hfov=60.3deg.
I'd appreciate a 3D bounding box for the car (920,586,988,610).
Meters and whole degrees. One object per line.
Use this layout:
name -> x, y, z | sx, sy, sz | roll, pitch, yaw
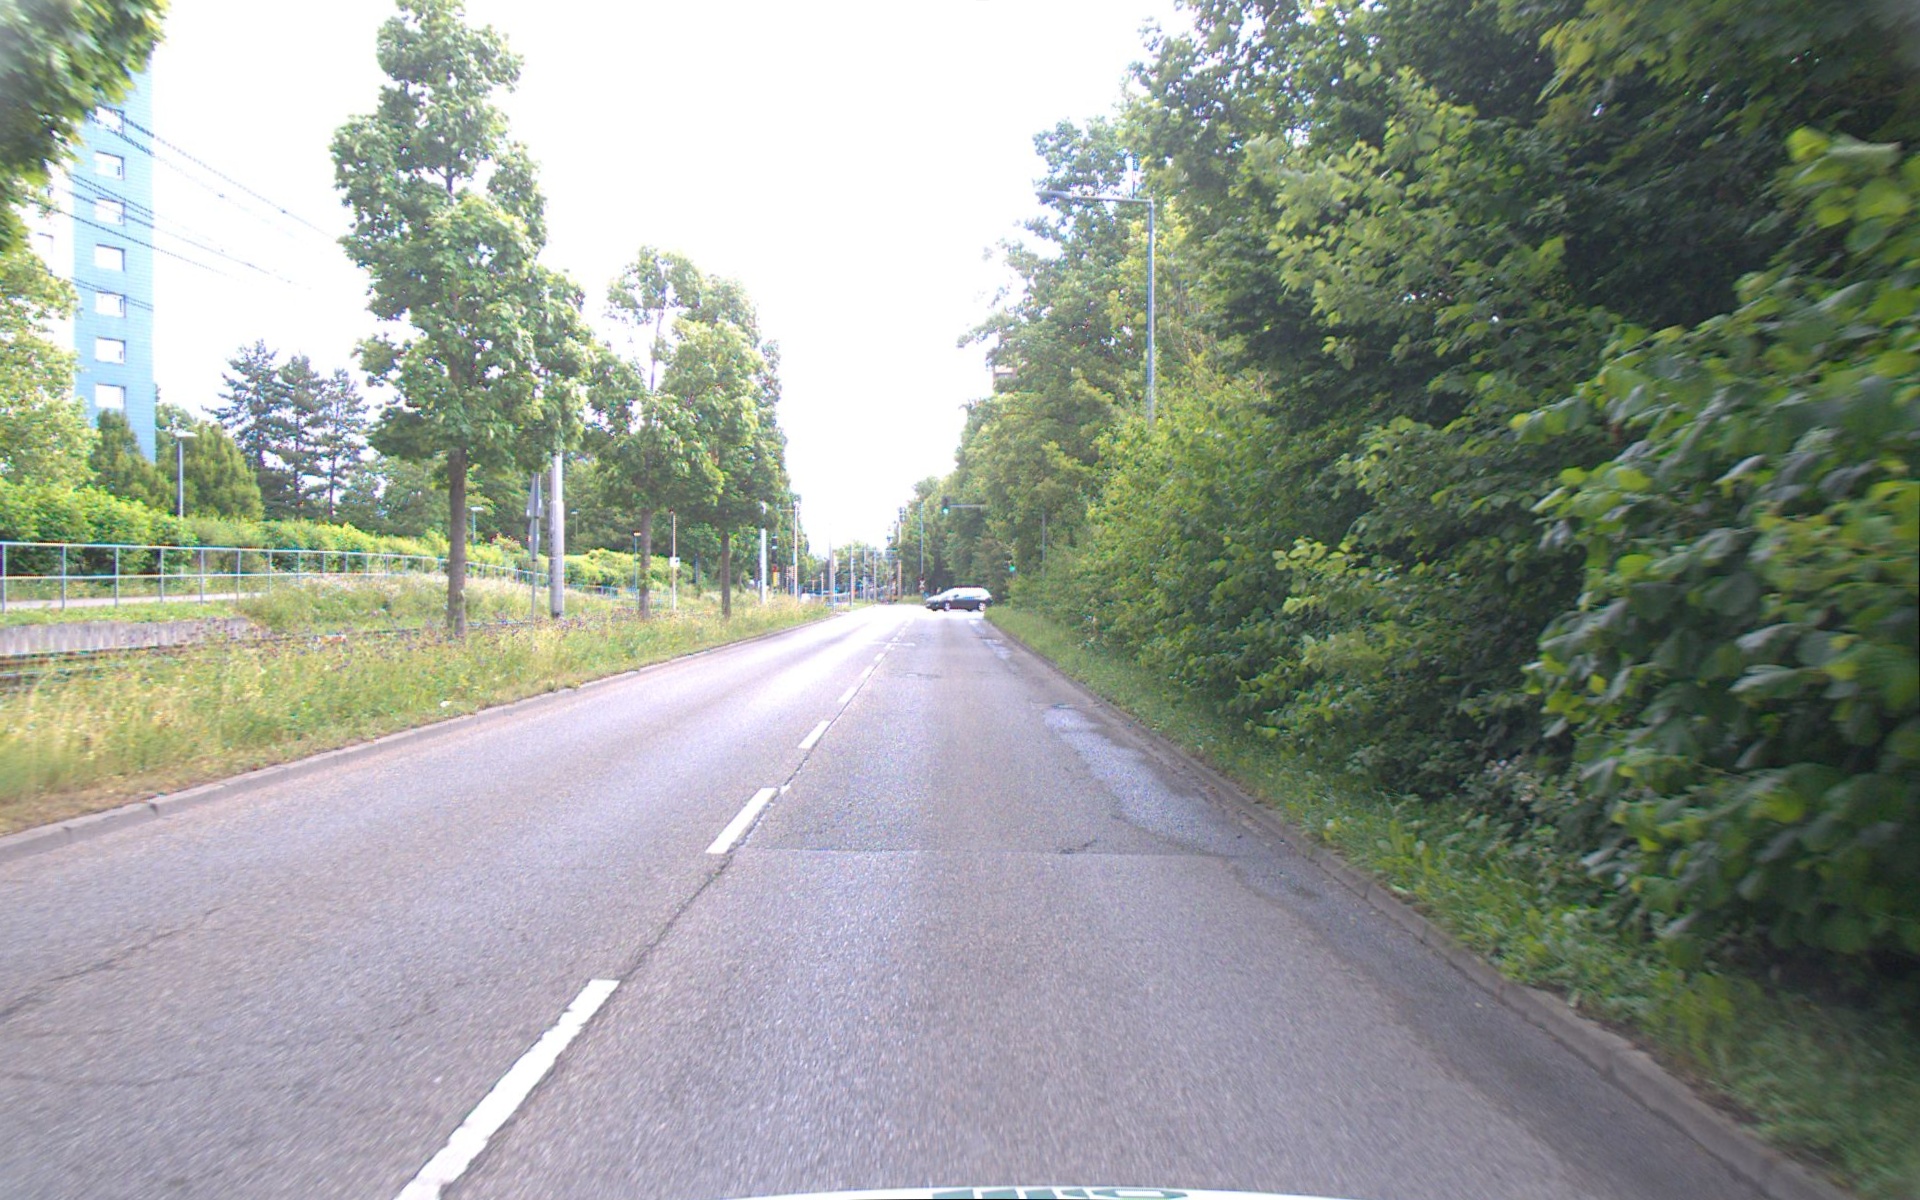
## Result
car -> -0.394, -0.138, 107.420 | 4.213, 1.496, 1.831 | 0, 1, -39
